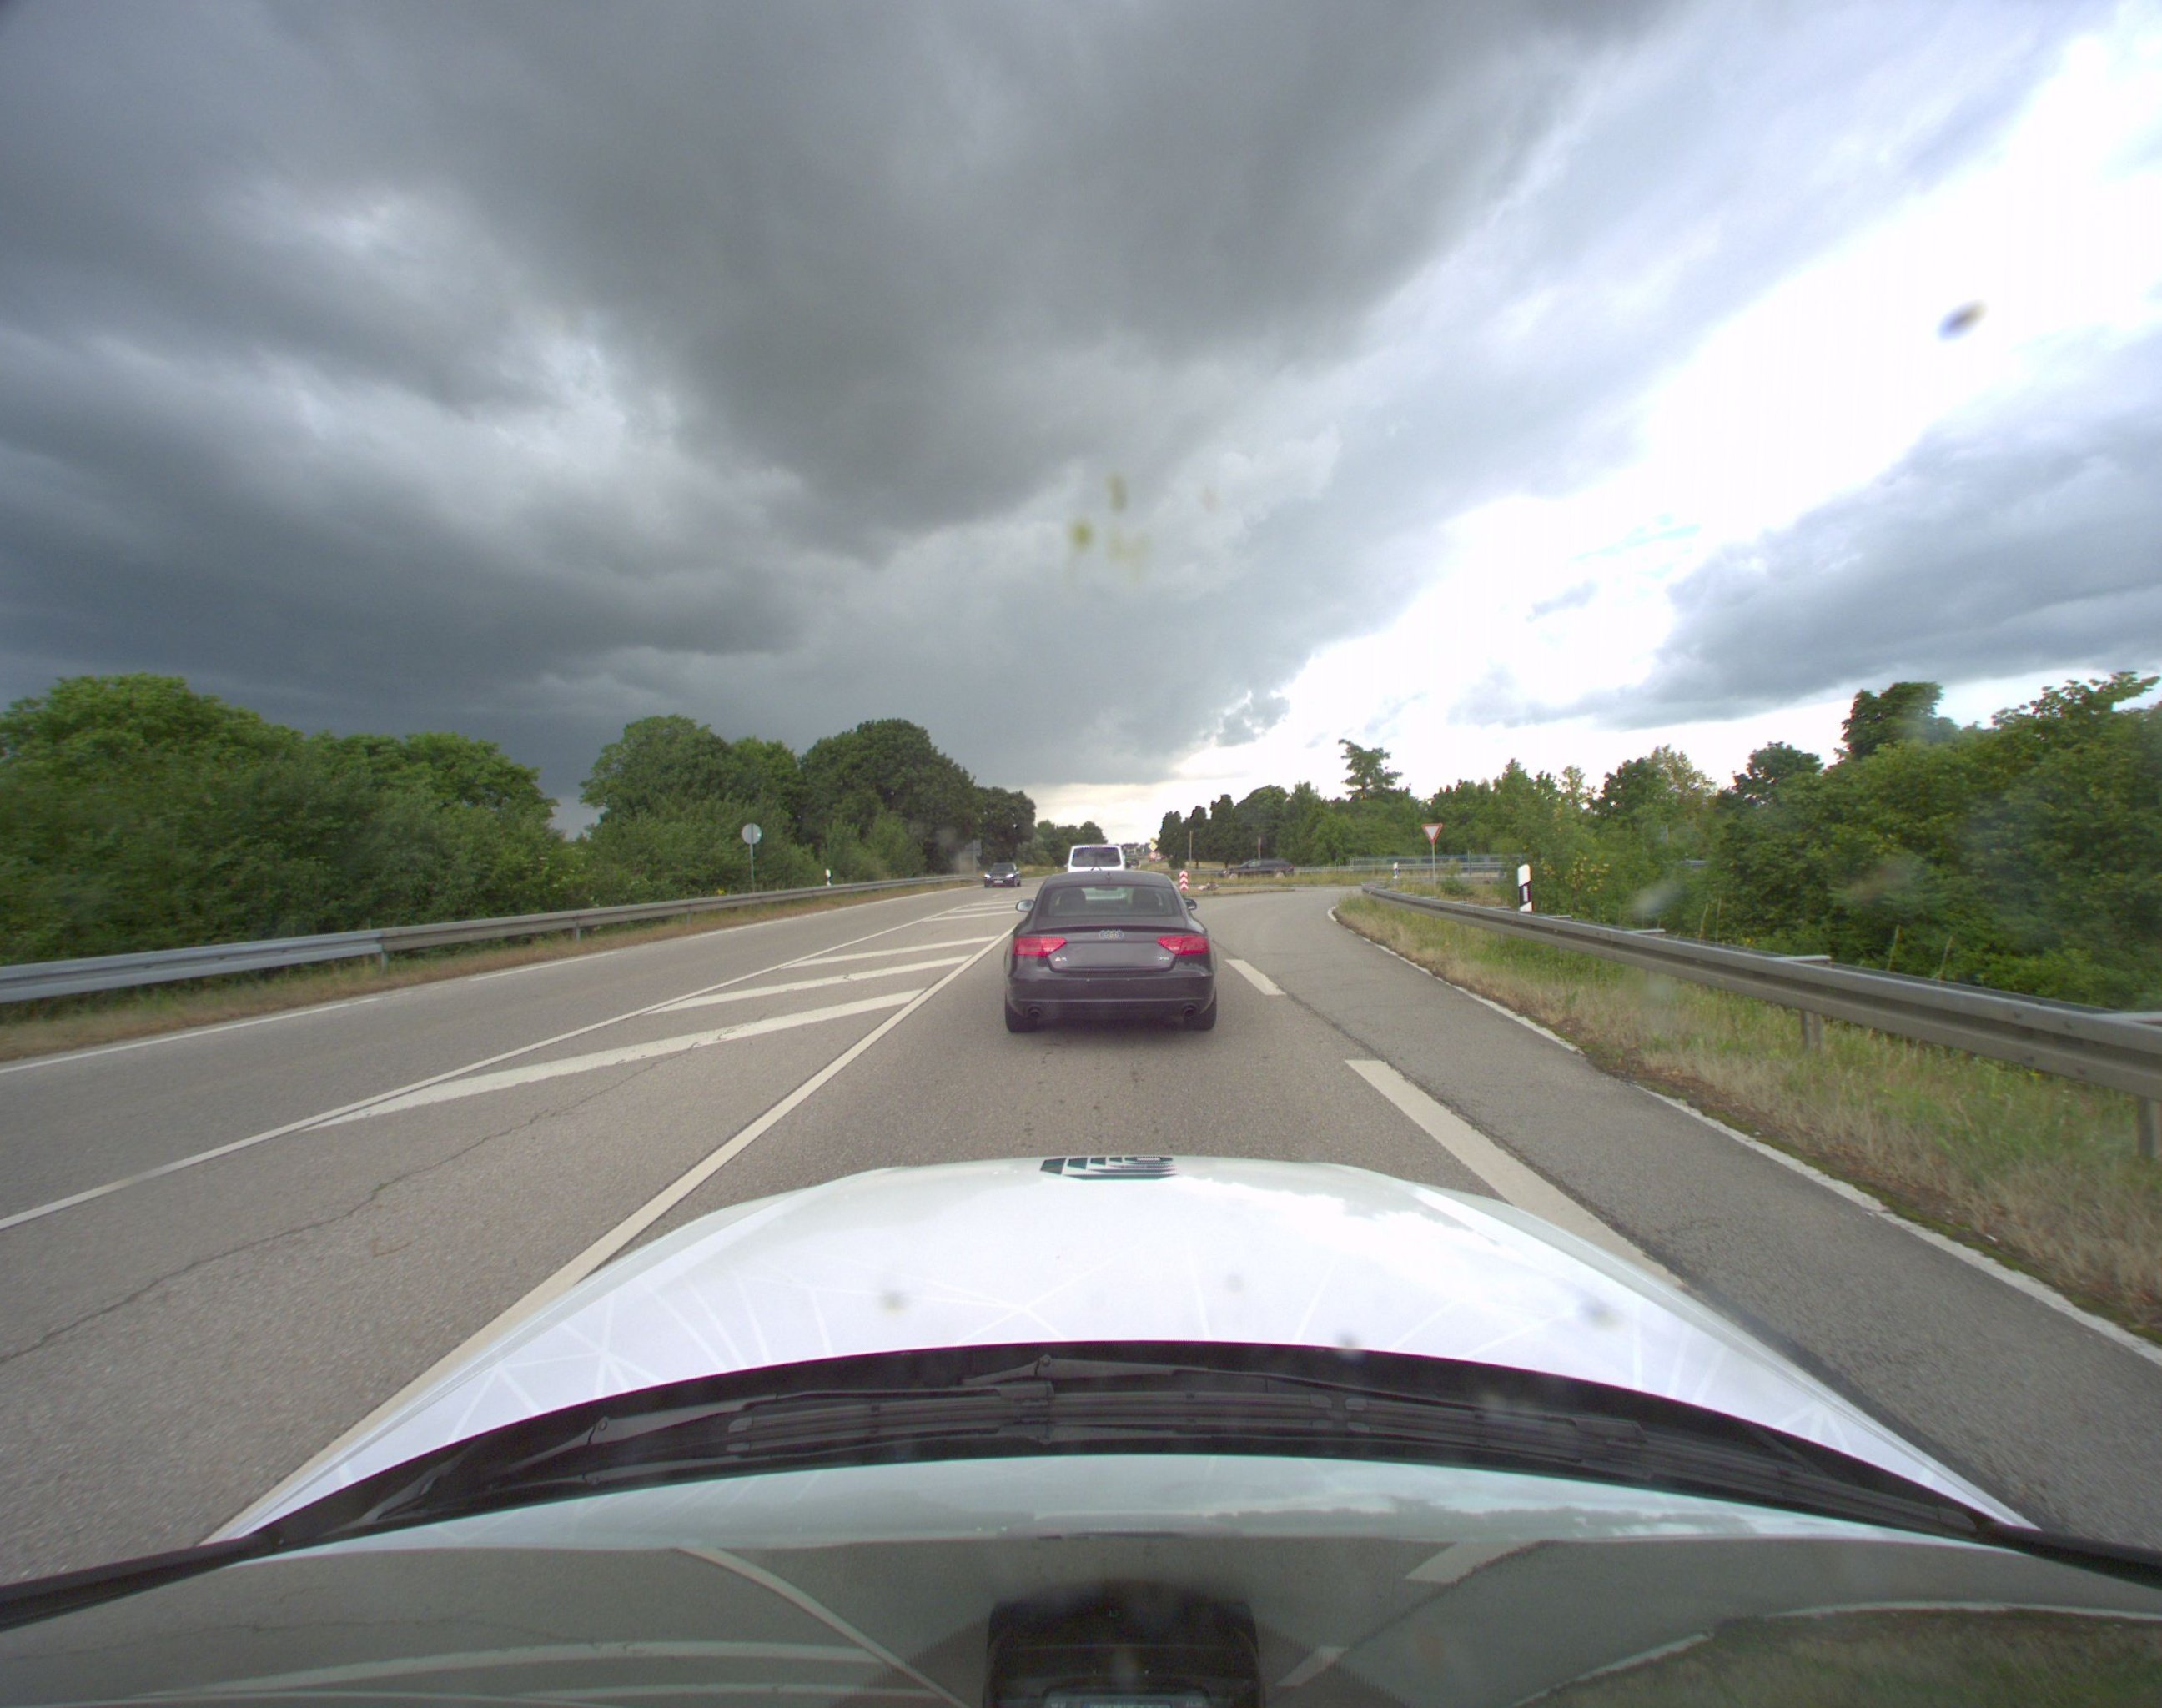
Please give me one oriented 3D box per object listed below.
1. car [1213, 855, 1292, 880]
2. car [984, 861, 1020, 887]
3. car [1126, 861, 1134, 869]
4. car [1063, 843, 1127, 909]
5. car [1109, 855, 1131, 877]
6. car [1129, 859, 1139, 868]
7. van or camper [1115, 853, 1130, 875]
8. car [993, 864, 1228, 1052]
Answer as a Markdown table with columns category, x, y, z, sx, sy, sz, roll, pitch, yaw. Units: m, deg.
| category | x | y | z | sx | sy | sz | roll | pitch | yaw |
| --- | --- | --- | --- | --- | --- | --- | --- | --- | --- |
| car | 10.430 | 0.814 | 49.831 | 4.572 | 1.374 | 1.830 | -1 | -1 | 6 |
| car | -4.729 | 1.196 | 49.108 | 1.665 | 1.429 | 4.258 | -1 | 0 | 1 |
| car | 9.962 | 2.229 | 166.124 | 1.712 | 1.451 | 4.003 | 0 | -1 | 3 |
| car | 0.475 | 0.638 | 25.531 | 1.832 | 1.882 | 4.002 | -1 | 0 | 2 |
| car | 3.928 | 1.164 | 80.513 | 1.984 | 2.088 | 4.005 | -1 | -1 | 5 |
| car | 12.534 | 2.205 | 192.775 | 1.986 | 2.014 | 4.001 | -1 | 0 | 1 |
| van or camper | 7.021 | 1.673 | 137.478 | 2.330 | 3.481 | 5.724 | -1 | -1 | 4 |
| car | 0.286 | 0.818 | 8.182 | 1.776 | 1.376 | 4.002 | -1 | 0 | 2 |
